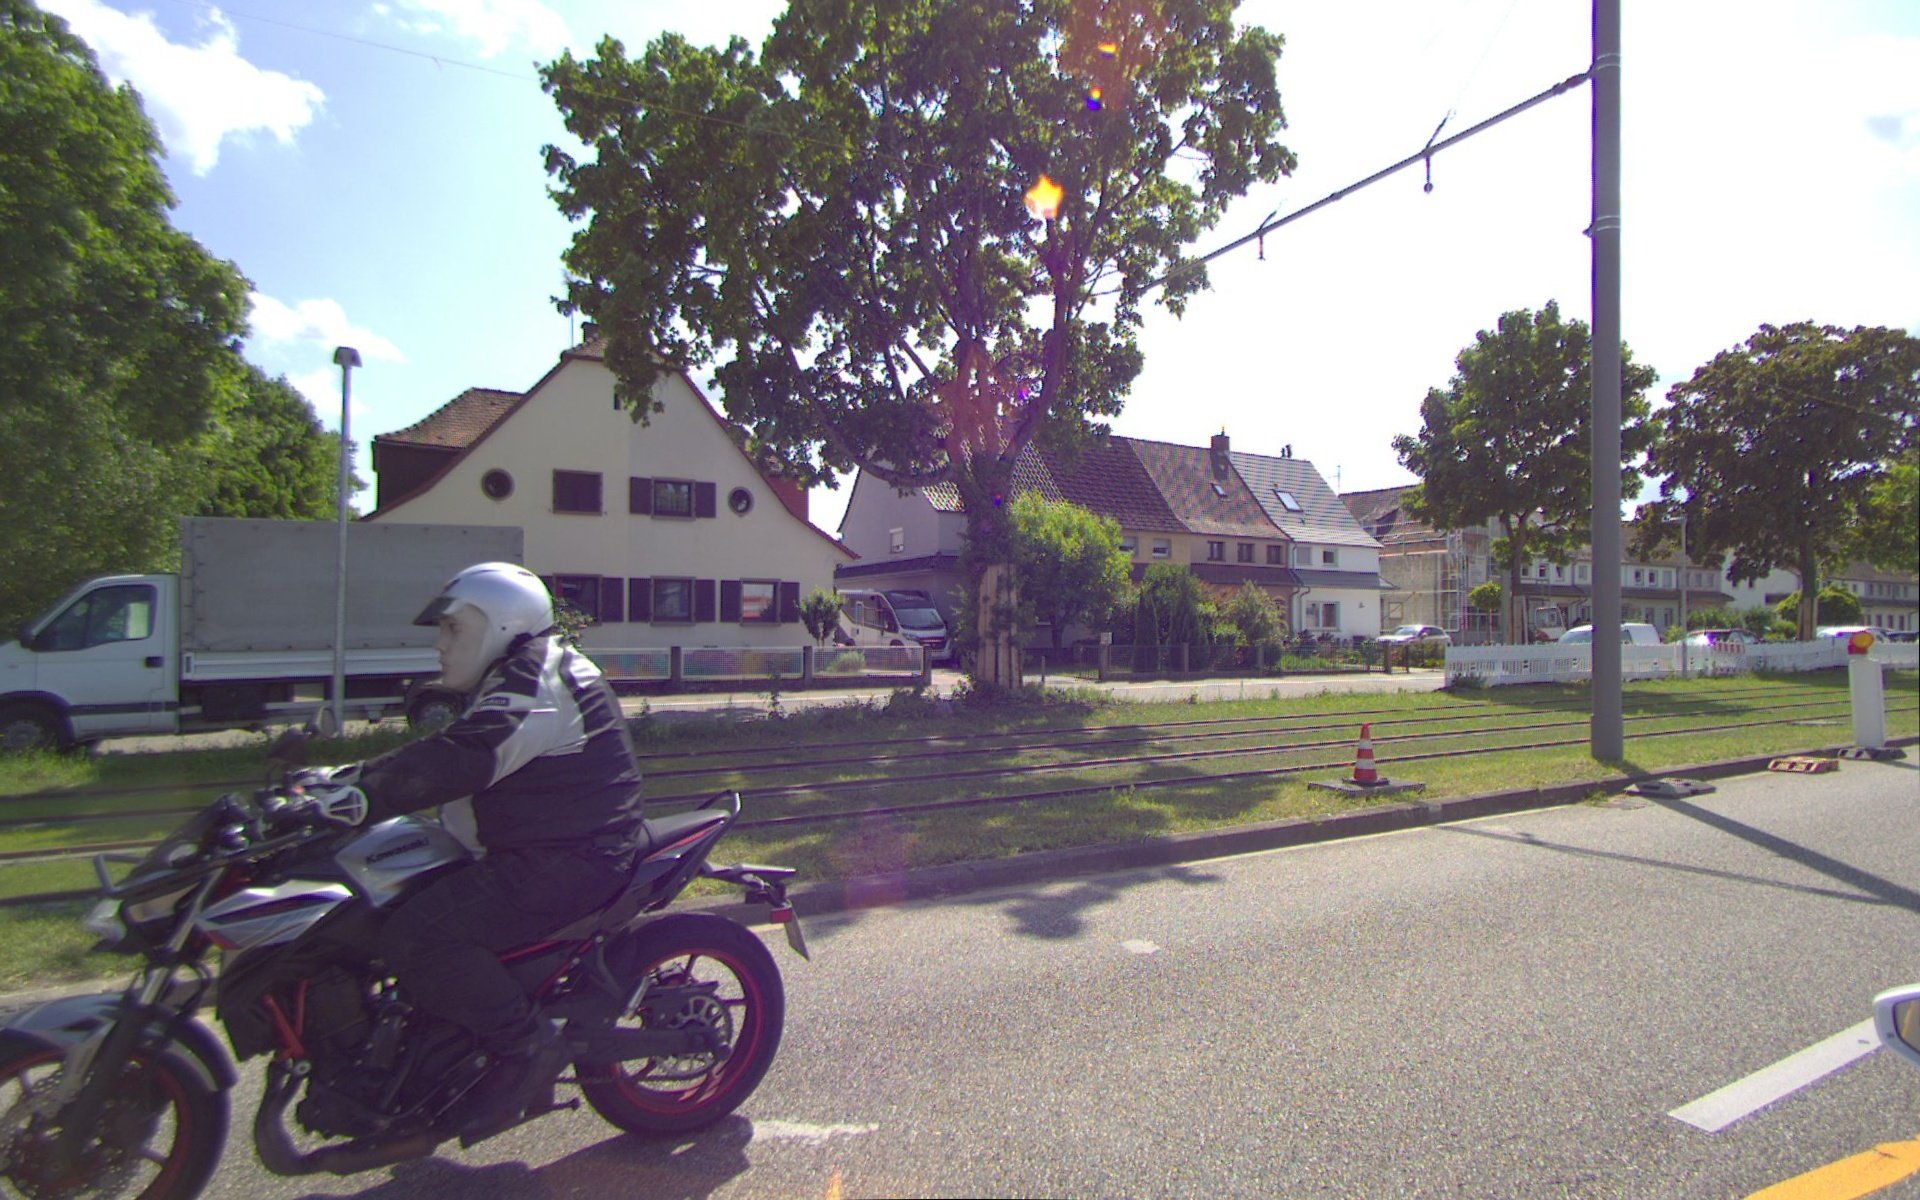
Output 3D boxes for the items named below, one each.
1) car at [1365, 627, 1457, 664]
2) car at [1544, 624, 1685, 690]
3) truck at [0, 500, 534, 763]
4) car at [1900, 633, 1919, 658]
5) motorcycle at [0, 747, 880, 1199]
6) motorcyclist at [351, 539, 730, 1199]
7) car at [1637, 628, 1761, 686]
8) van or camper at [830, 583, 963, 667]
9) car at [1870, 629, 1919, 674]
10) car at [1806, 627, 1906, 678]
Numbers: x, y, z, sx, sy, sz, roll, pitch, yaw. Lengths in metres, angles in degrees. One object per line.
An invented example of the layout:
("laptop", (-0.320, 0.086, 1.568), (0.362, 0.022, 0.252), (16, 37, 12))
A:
("car", (19.992, 1.990, 44.490), (3.952, 1.539, 1.768), (1, -2, -30))
("car", (19.579, 1.642, 30.007), (4.312, 1.845, 1.768), (1, -2, -30))
("truck", (-8.833, 0.403, 12.965), (5.906, 2.817, 2.255), (1, -2, -31))
("car", (70.033, 3.303, 72.741), (4.079, 1.745, 1.768), (1, -2, -30))
("motorcycle", (-1.379, 0.998, 2.512), (2.220, 1.034, 0.863), (1, -2, -33))
("motorcyclist", (-1.142, 0.587, 2.673), (0.792, 1.396, 0.863), (1, -2, -32))
("car", (24.292, 1.812, 32.996), (4.177, 1.797, 1.768), (1, -2, -30))
("van or camper", (-2.432, 0.937, 36.608), (2.269, 2.801, 6.051), (1, -2, -32))
("car", (40.648, 2.164, 42.691), (4.079, 1.829, 1.768), (1, -2, -30))
("car", (35.364, 2.030, 39.634), (4.079, 1.892, 1.768), (1, -2, -30))
